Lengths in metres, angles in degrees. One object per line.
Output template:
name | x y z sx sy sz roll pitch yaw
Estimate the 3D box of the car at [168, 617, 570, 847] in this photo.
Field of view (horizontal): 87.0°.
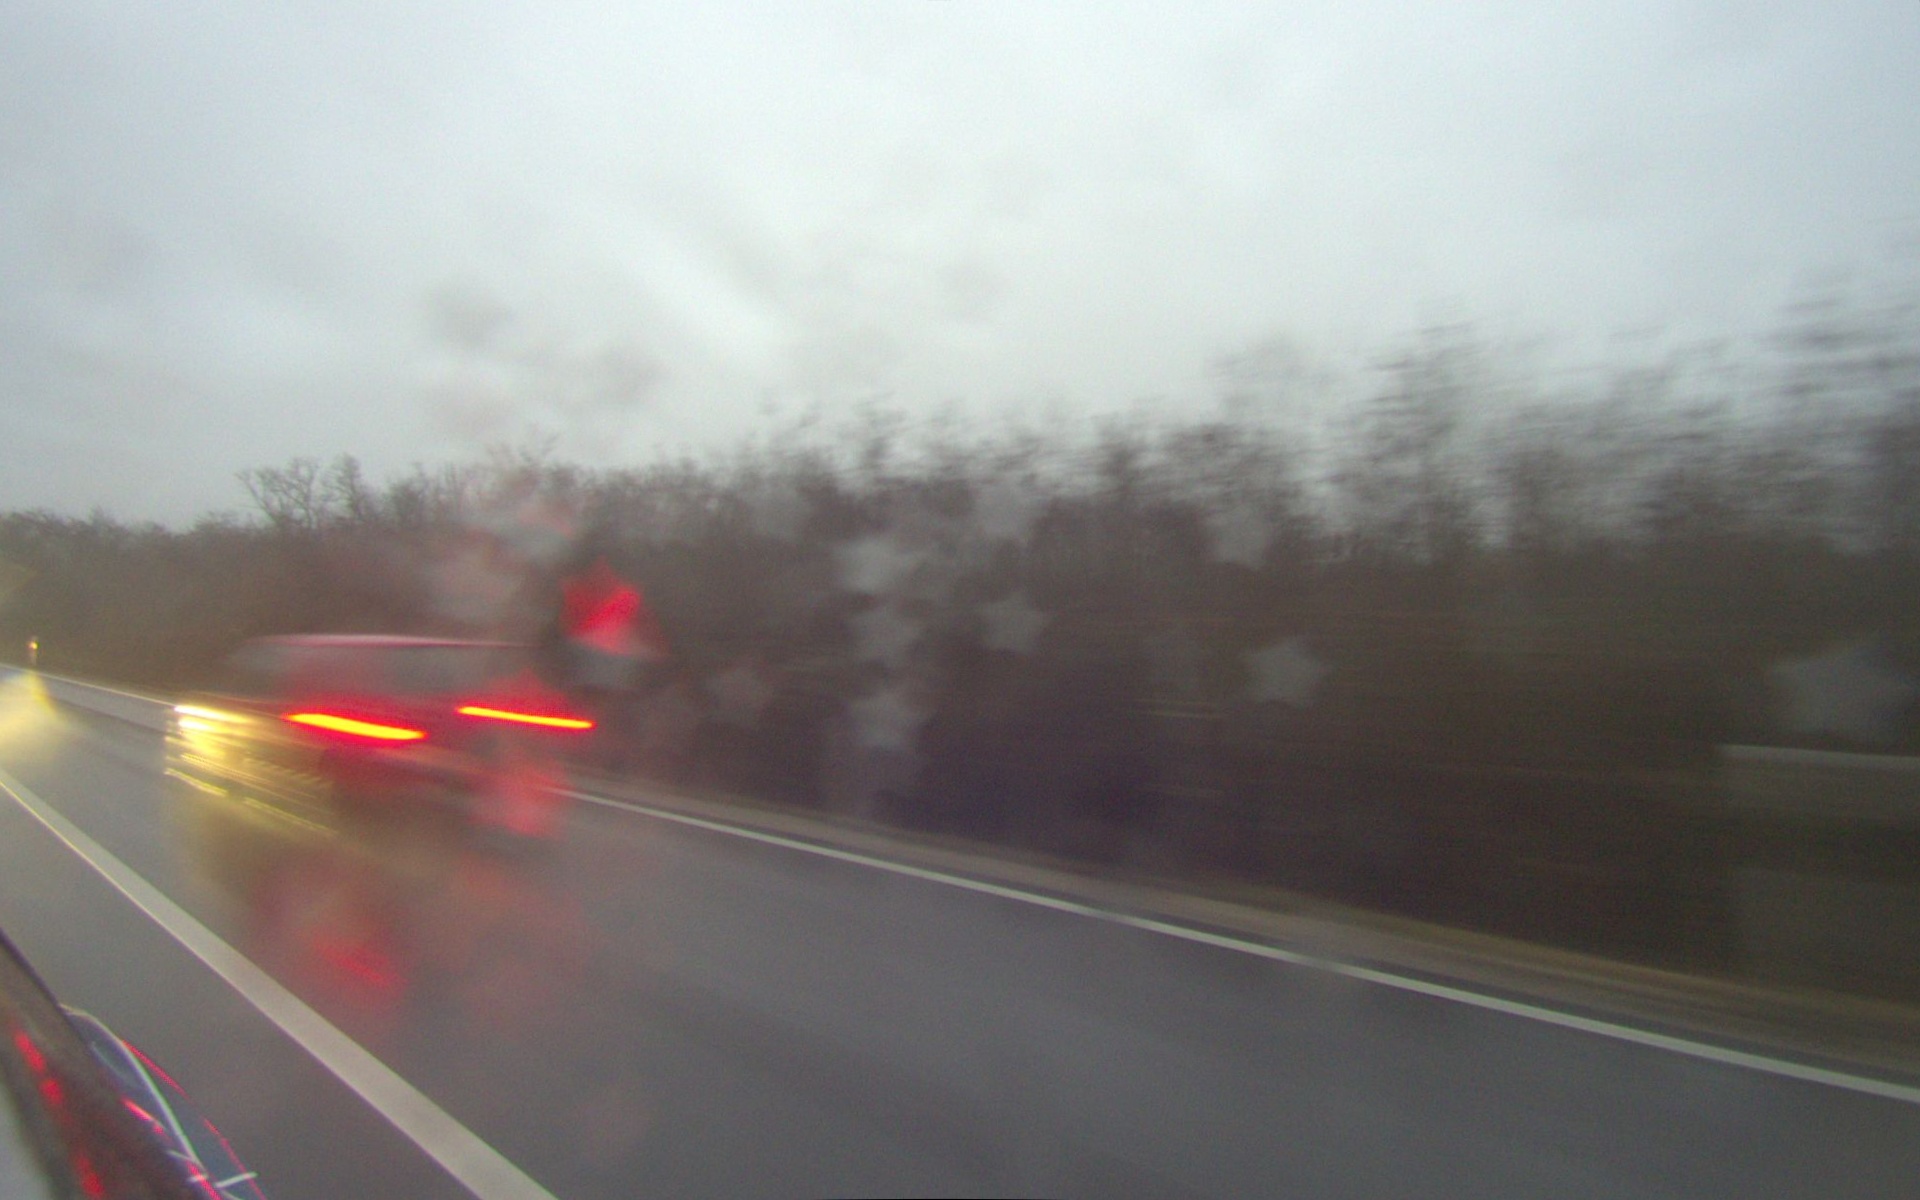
car | -5.040 0.914 8.408 3.979 1.468 1.615 -1 -4 40
